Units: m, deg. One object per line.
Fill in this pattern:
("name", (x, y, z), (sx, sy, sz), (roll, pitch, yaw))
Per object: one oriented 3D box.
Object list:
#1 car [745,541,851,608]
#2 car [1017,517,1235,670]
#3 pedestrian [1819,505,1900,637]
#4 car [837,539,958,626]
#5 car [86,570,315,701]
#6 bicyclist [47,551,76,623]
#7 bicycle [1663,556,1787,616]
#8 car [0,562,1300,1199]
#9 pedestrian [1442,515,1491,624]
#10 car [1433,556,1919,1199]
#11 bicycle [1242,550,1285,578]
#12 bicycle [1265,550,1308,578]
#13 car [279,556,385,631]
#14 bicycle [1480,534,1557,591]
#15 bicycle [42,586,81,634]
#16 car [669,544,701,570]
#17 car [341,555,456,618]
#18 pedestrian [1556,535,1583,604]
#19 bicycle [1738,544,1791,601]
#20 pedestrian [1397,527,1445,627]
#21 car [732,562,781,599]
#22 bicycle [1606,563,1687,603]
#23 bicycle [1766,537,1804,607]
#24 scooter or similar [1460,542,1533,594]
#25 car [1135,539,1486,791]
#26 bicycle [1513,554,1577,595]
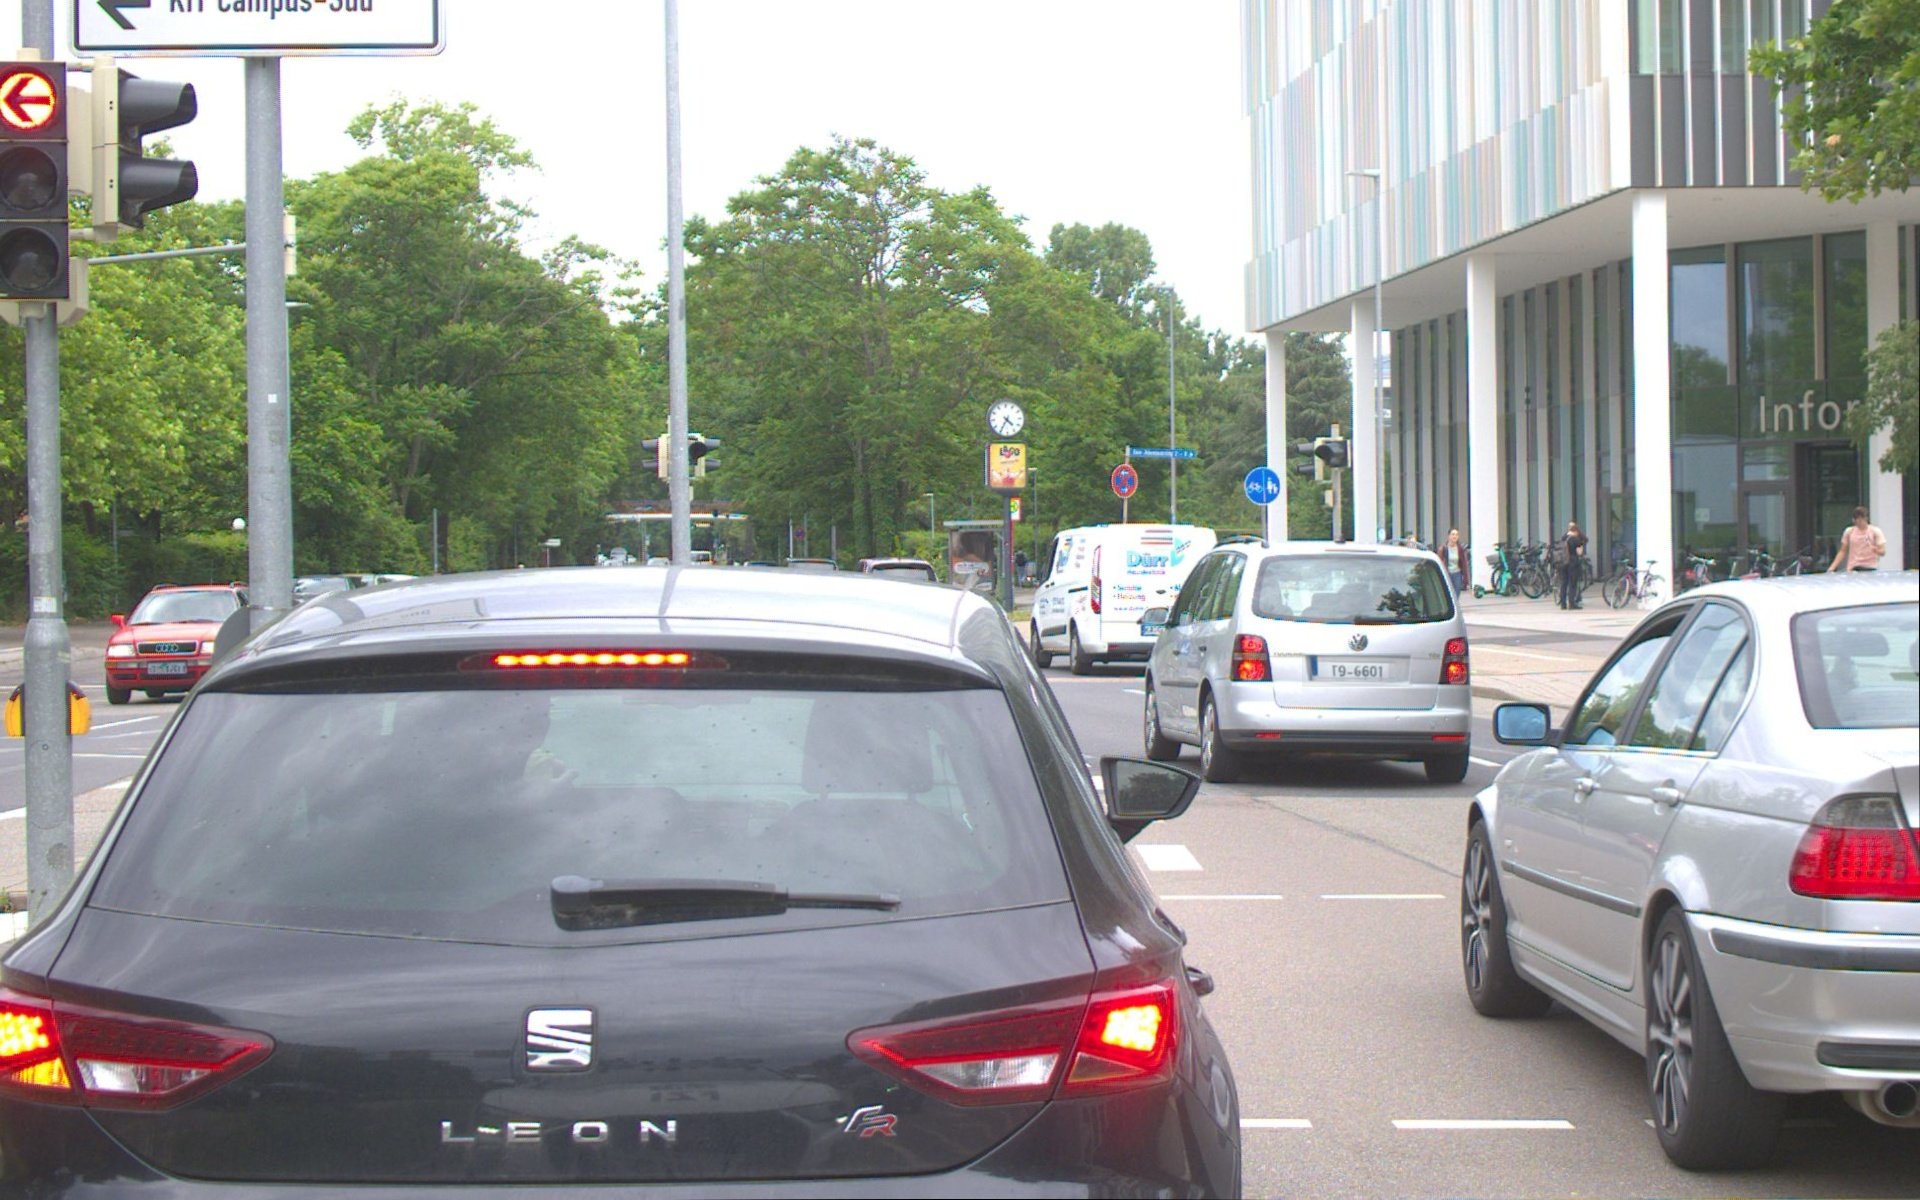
("car", (-4.344, -0.701, 91.430), (1.914, 1.658, 4.116), (-3, 1, -15))
("car", (2.185, -0.132, 46.648), (1.966, 1.965, 4.345), (1, 1, -11))
("pedestrian", (12.333, -0.405, 47.144), (0.847, 1.759, 0.768), (-2, 1, -1))
("car", (-1.269, -0.372, 68.249), (1.948, 1.618, 3.750), (0, 2, -8))
("car", (-9.300, 0.392, 42.415), (1.714, 1.413, 4.294), (-2, 1, 2))
("bicyclist", (-20.445, -0.294, 78.227), (0.491, 1.619, 0.588), (1, 2, -1))
("bicycle", (12.511, -0.234, 56.208), (1.886, 0.895, 0.697), (-3, 1, -21))
("car", (-0.442, 0.676, 5.785), (1.753, 1.427, 3.769), (1, 1, 2))
("pedestrian", (8.347, -0.502, 56.627), (0.687, 1.775, 0.677), (-1, 1, -1))
("car", (2.458, 0.620, 9.148), (1.722, 1.409, 4.246), (0, 1, -1))
("bicycle", (9.612, -1.146, 108.993), (1.258, 0.845, 0.482), (2, 0, -22))
("bicycle", (10.150, -1.121, 106.884), (1.234, 0.820, 0.482), (1, 0, -22))
("car", (-15.743, -0.192, 86.334), (1.906, 1.711, 4.000), (-2, 1, -1))
("bicycle", (12.640, -0.843, 77.741), (1.772, 1.207, 0.570), (-3, 2, -34))
("bicycle", (-20.454, 0.222, 78.252), (0.488, 1.002, 1.590), (1, 2, -1))
("car", (-16.566, -2.586, 206.659), (1.695, 1.498, 4.011), (-2, 1, -7))
("car", (-15.713, -0.388, 96.389), (1.759, 1.582, 3.998), (-2, 1, 12))
("pedestrian", (12.178, -0.613, 68.730), (0.472, 1.357, 0.445), (-2, 1, 10))
("bicycle", (15.730, -0.541, 67.197), (0.620, 1.042, 1.703), (-2, 2, 26))
("pedestrian", (7.575, -0.378, 56.502), (0.687, 1.634, 0.633), (0, 1, -1))
("car", (-8.352, -0.807, 140.811), (1.898, 1.349, 3.883), (-2, 1, -4))
("bicycle", (13.917, -0.345, 69.693), (1.479, 0.746, 0.566), (-2, 1, -4))
("bicycle", (15.465, -0.525, 64.404), (0.526, 1.248, 1.664), (-2, 1, 18))
("scooter or similar", (12.225, -0.725, 78.320), (1.671, 1.103, 0.499), (-3, 2, -32))
("car", (2.330, 0.375, 23.835), (1.729, 1.597, 4.106), (0, 1, -4))
("bicycle", (12.940, -0.569, 76.007), (1.438, 0.855, 0.365), (-3, 1, -27))
